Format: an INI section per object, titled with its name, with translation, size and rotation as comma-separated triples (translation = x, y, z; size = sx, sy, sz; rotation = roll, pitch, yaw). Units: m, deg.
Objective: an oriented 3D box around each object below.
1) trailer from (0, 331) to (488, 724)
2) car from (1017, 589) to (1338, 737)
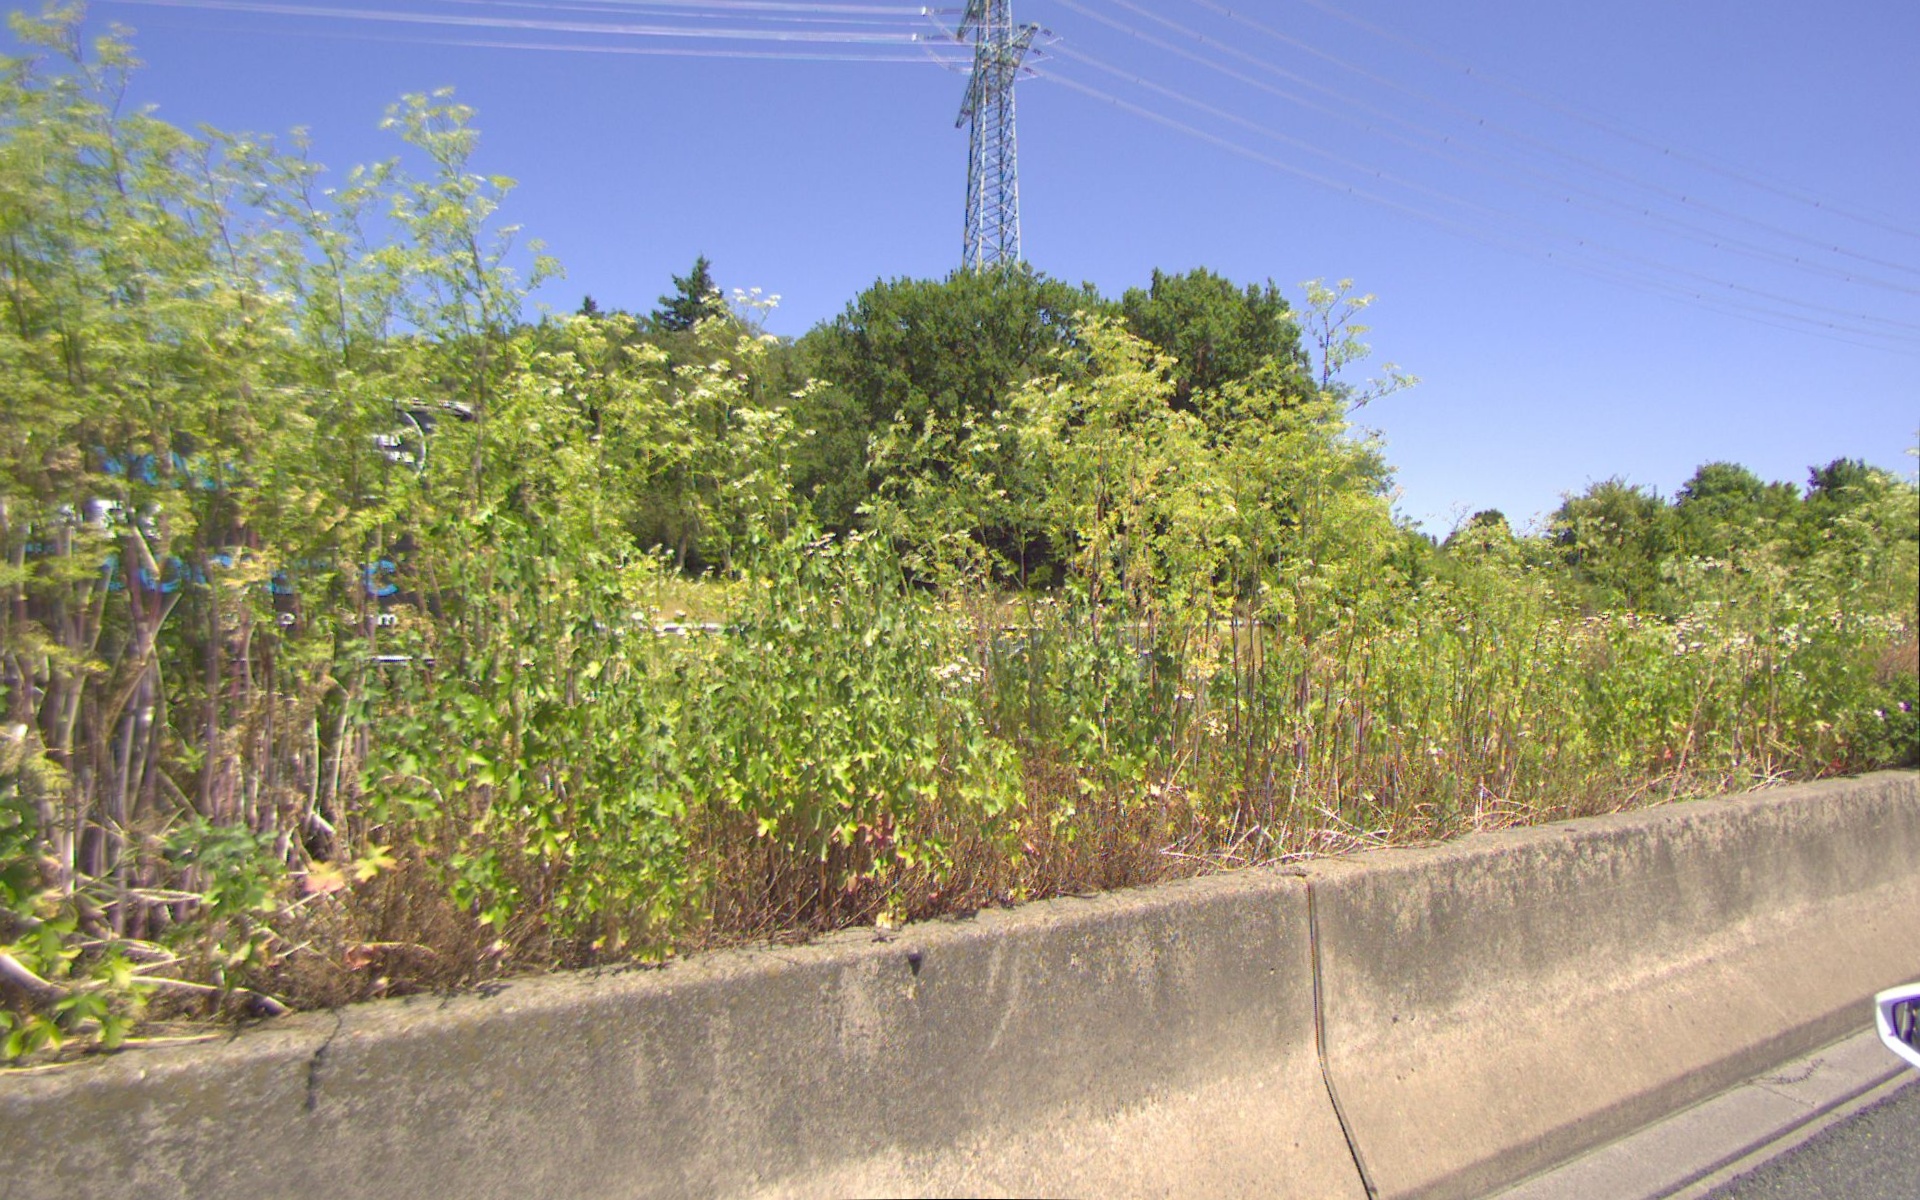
[trailer]
translation = -9.898, -0.683, 11.236
size = 8.104, 3.811, 3.168
rotation = 1, -1, -30
[car]
translation = 2.973, 0.784, 13.609
size = 3.953, 1.739, 1.984
rotation = 2, -1, -30
